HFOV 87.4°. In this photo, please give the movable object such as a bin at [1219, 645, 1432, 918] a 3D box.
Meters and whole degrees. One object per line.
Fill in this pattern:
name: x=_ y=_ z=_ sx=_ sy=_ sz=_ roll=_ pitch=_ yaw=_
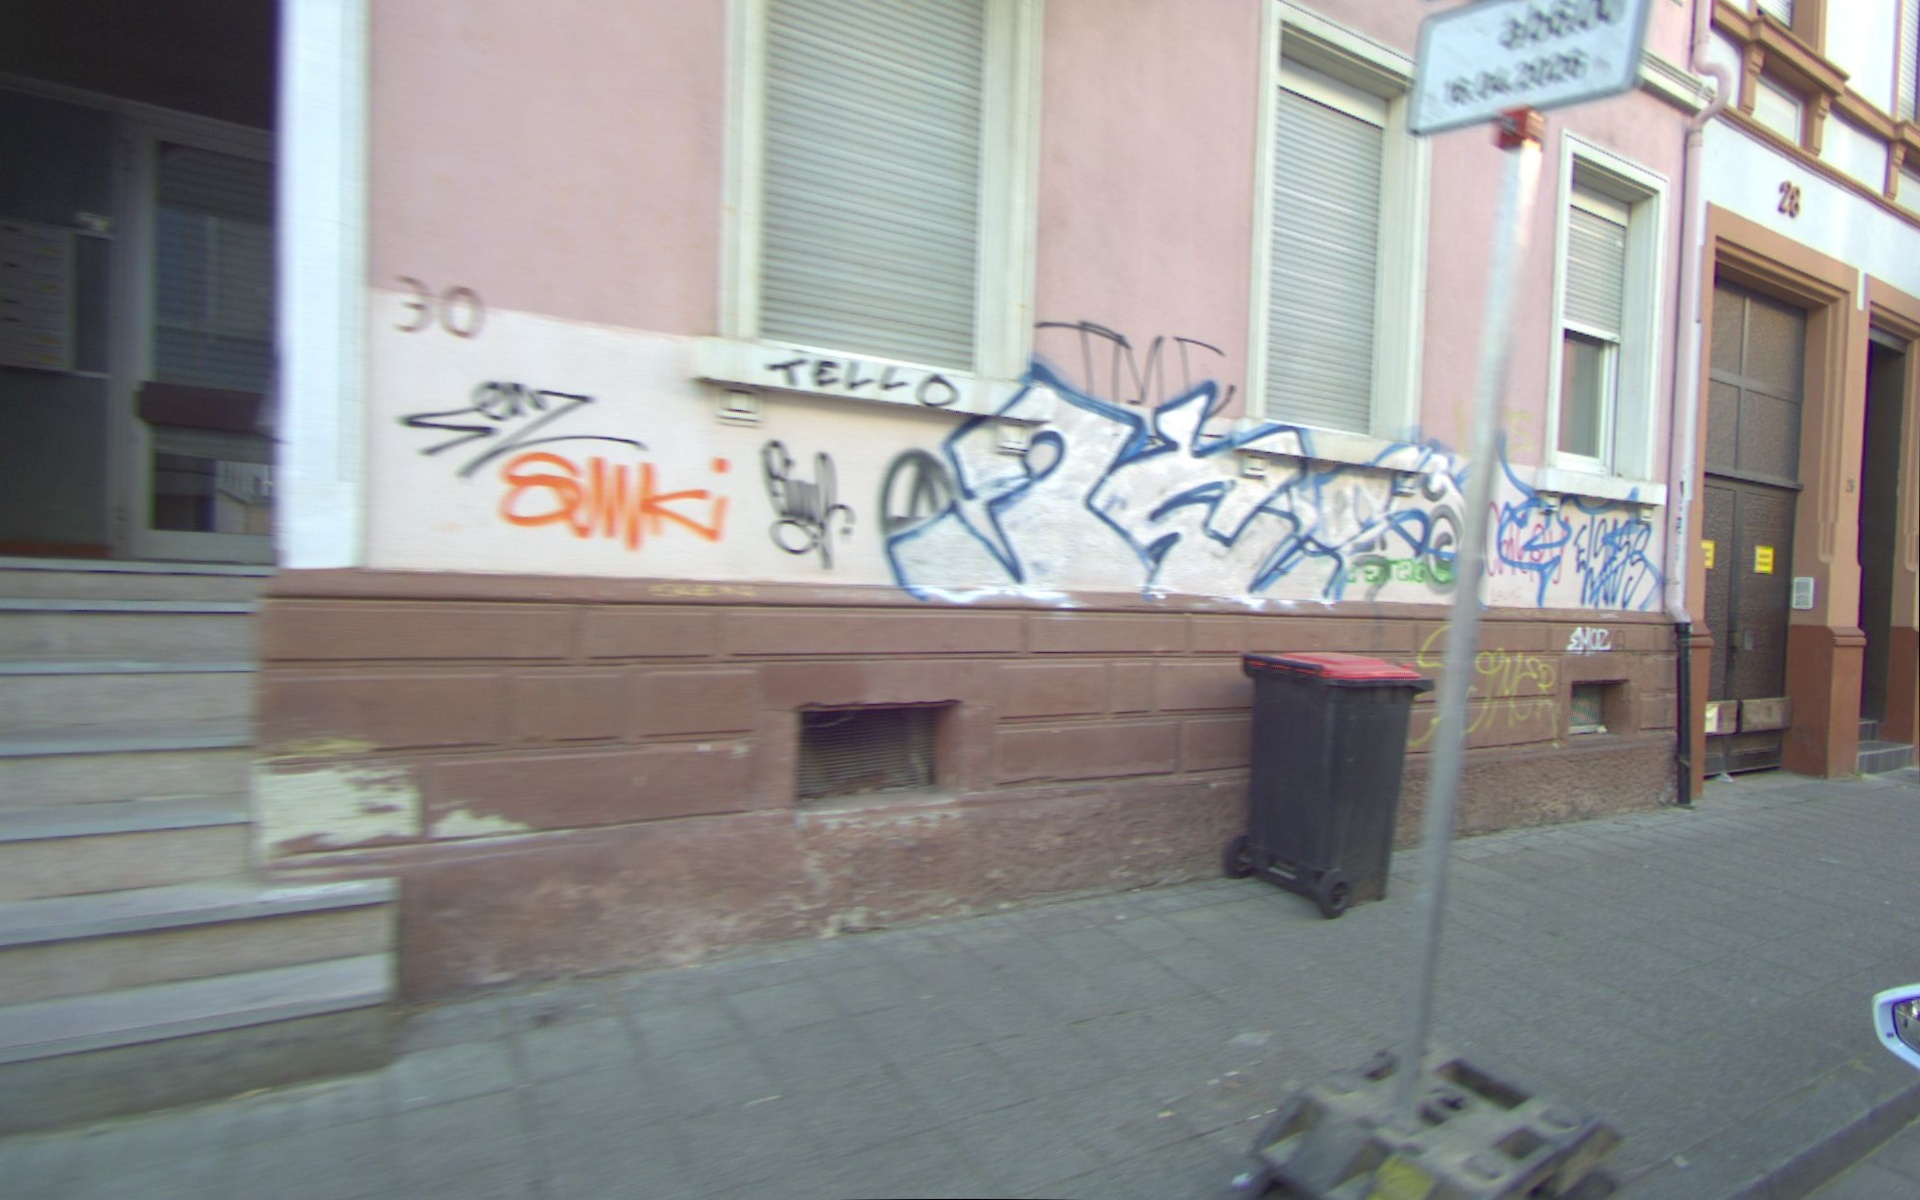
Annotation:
movable object such as a bin: x=1.605 y=0.753 z=4.451 sx=0.590 sy=1.049 sz=0.602 roll=2 pitch=2 yaw=-32
